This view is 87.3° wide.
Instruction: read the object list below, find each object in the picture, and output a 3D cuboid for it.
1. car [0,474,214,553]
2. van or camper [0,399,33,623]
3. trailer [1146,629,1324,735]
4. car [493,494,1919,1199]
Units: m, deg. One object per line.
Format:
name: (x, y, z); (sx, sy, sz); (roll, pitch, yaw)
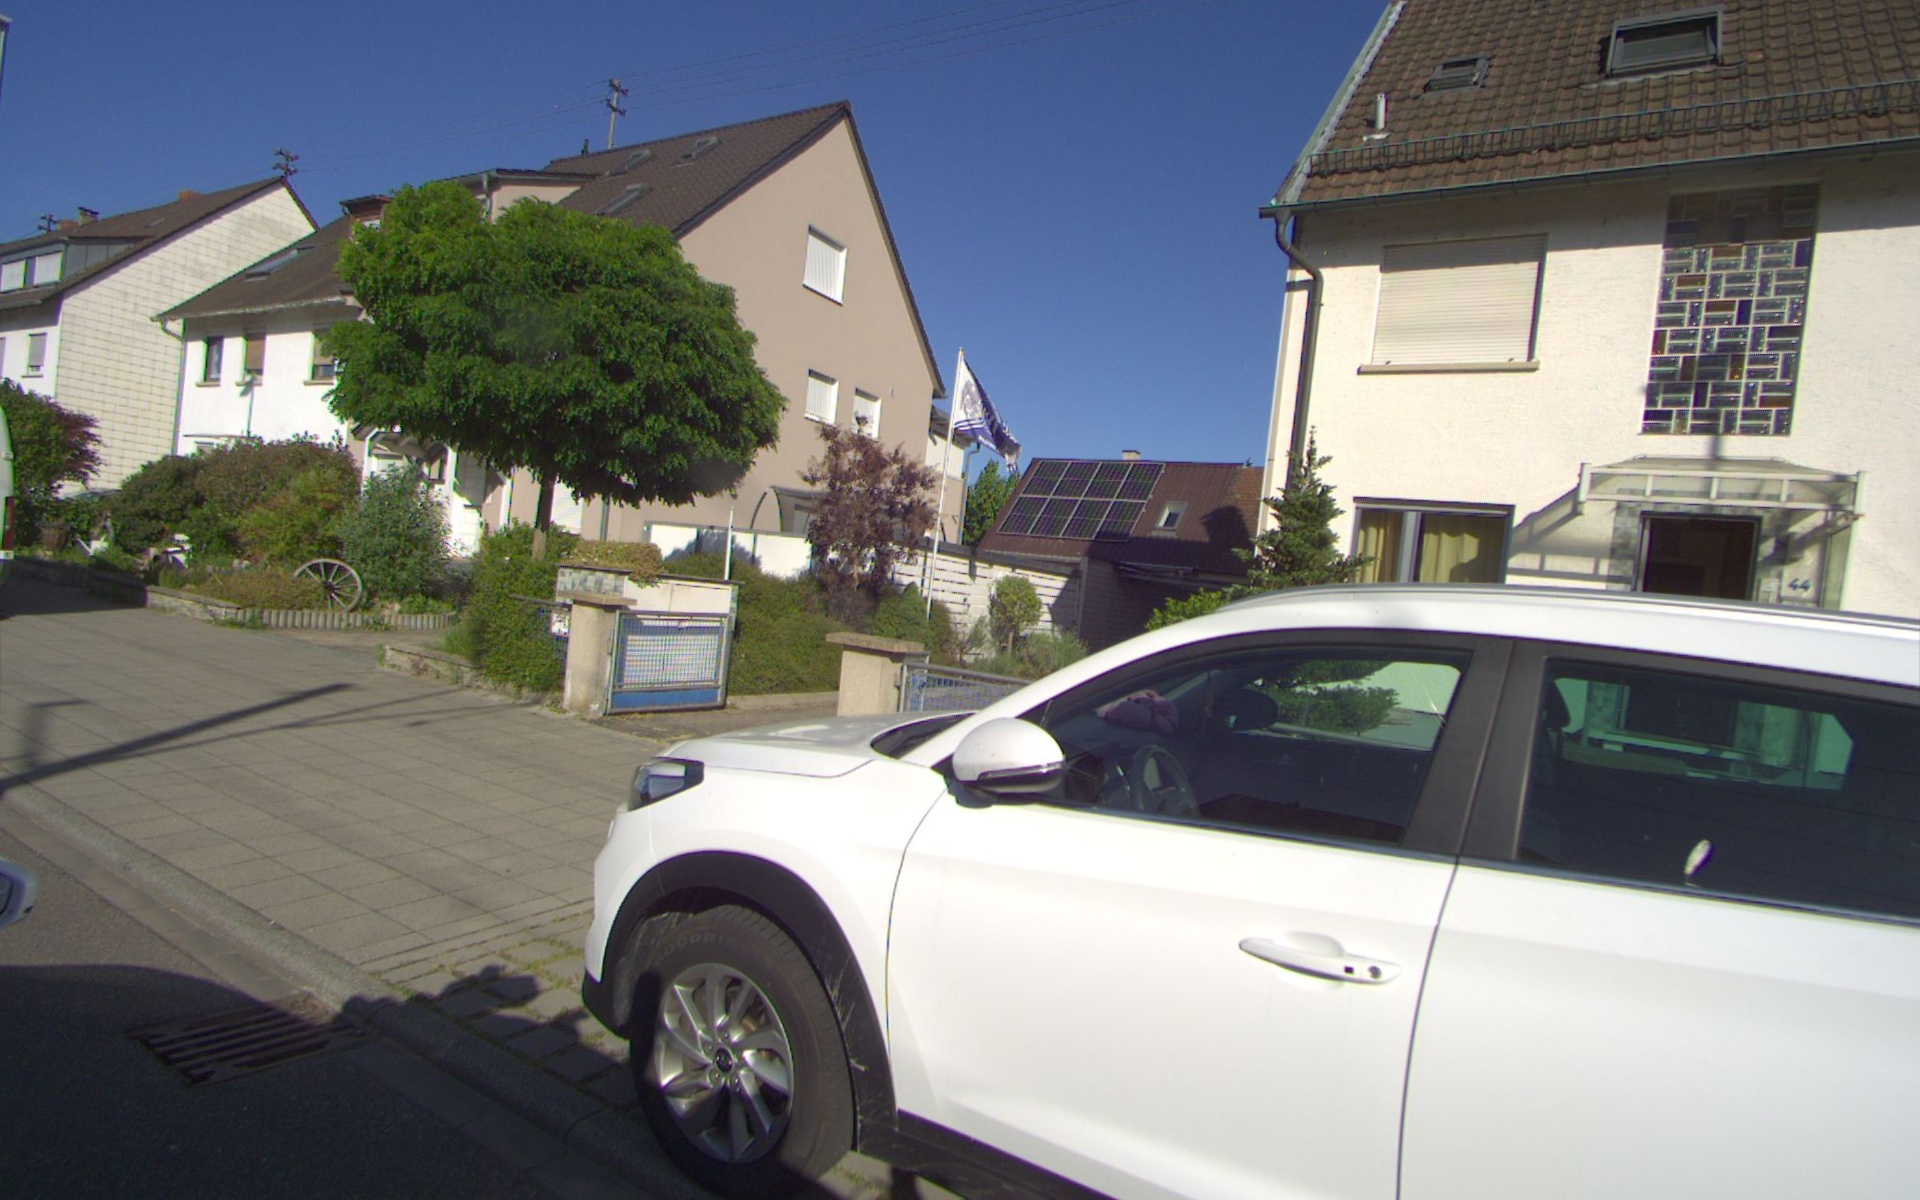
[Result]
car: (-23.216, -2.292, 27.000); (1.875, 1.496, 4.718); (6, 0, 29)
van or camper: (-12.905, -1.227, 11.320); (6.200, 2.301, 1.994); (6, 2, 32)
trailer: (4.243, 1.146, 15.131); (1.606, 1.205, 3.745); (7, 1, 30)
car: (1.008, 0.783, 2.432); (4.246, 1.667, 1.726); (7, 2, 31)
